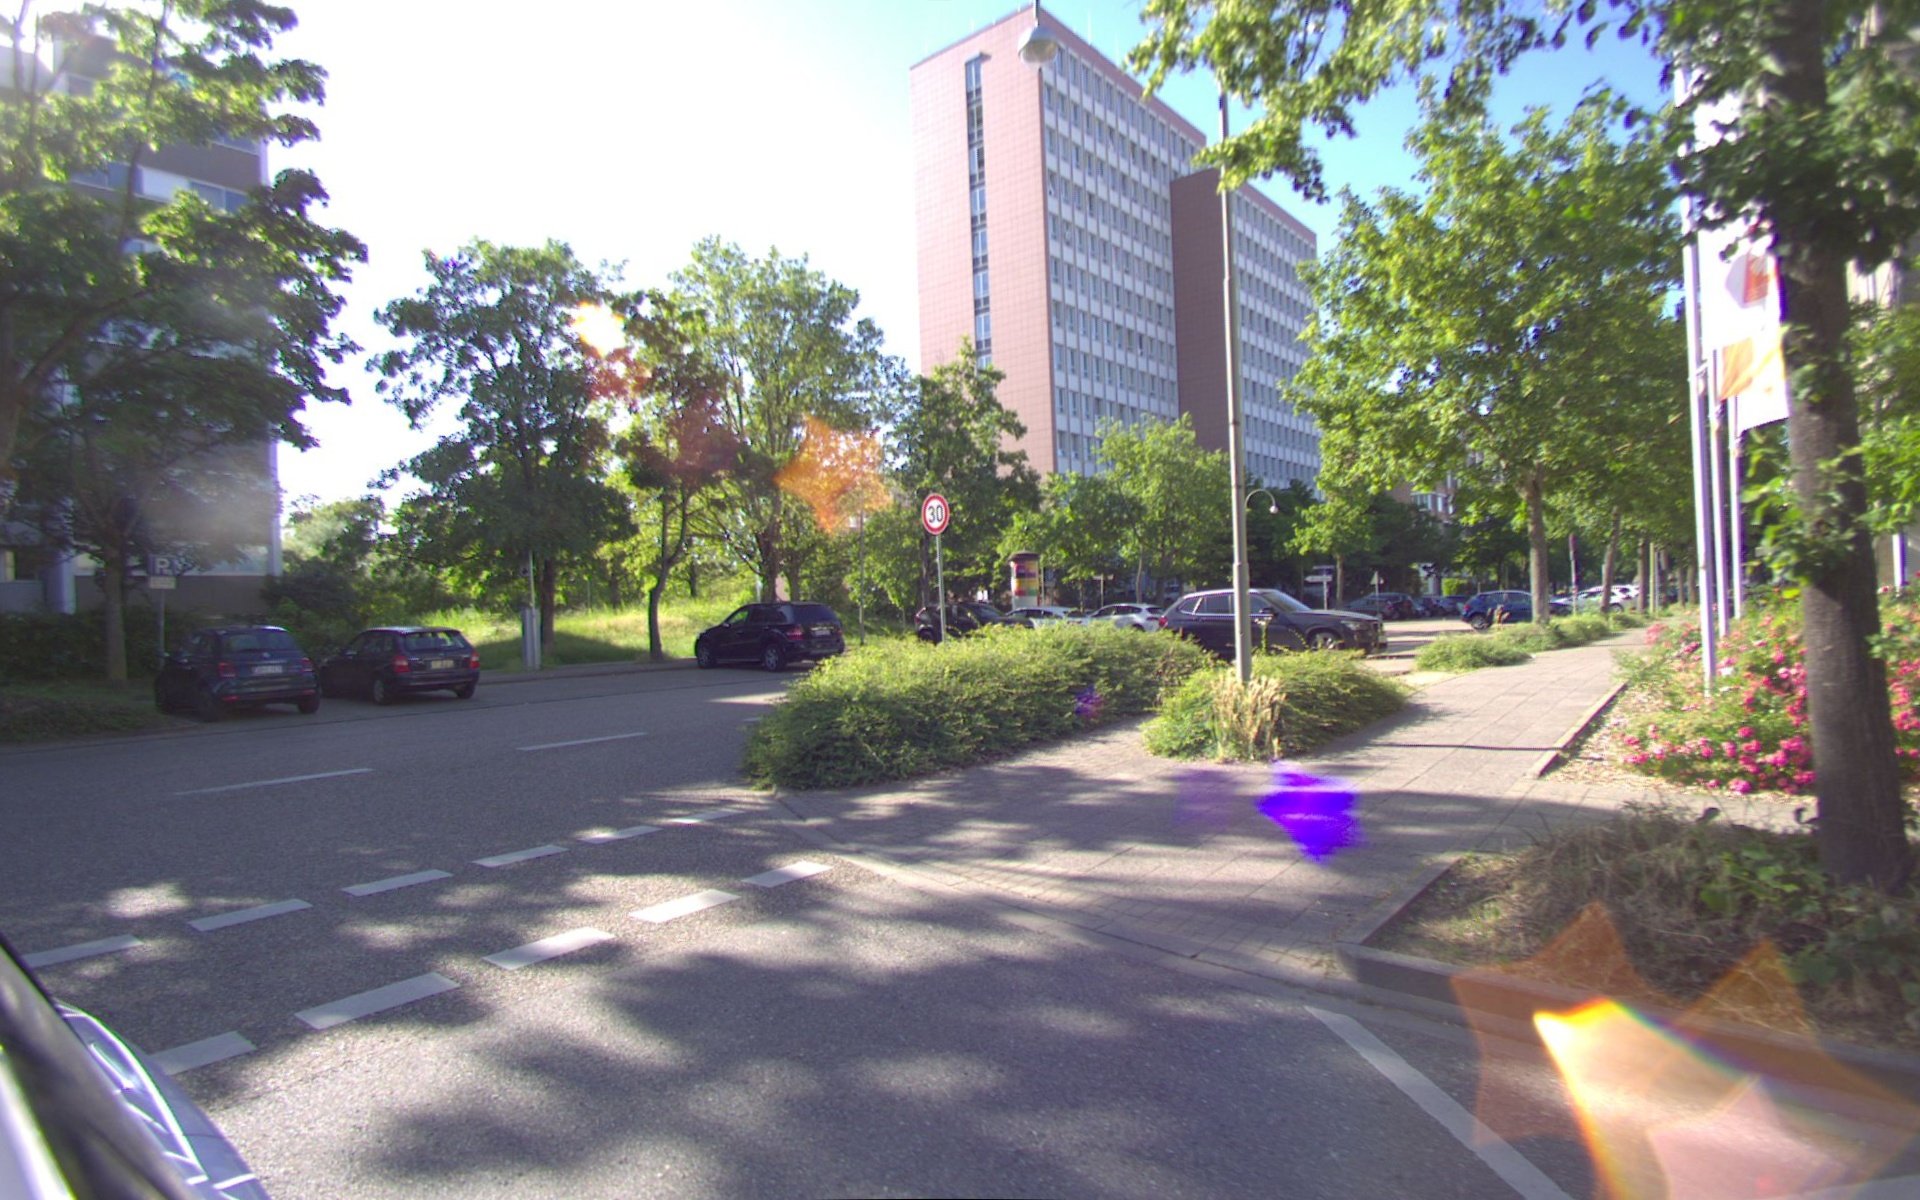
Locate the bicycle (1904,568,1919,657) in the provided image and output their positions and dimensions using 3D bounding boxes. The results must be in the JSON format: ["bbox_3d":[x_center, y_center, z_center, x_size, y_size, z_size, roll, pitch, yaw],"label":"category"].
[{"bbox_3d":[11.657,0.137,12.035,0.438,1.055,2.164,-4,-2,39],"label":"bicycle"}]

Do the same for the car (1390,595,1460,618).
[{"bbox_3d":[34.761,0.509,75.747,4.429,1.565,1.835,-3,-2,39],"label":"car"}]

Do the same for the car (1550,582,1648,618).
[{"bbox_3d":[35.181,0.008,55.792,4.236,1.614,1.927,-6,-2,40],"label":"car"}]

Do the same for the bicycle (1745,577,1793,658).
[{"bbox_3d":[11.404,0.216,14.250,0.438,1.055,2.164,-4,-2,39],"label":"bicycle"}]

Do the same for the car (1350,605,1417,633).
[{"bbox_3d":[27.774,1.249,66.370,3.683,1.764,1.700,-2,0,42],"label":"car"}]

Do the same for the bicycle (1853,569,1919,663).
[{"bbox_3d":[11.292,0.174,12.368,0.438,1.055,2.164,-4,-2,39],"label":"bicycle"}]

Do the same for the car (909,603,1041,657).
[{"bbox_3d":[0.461,0.969,33.256,4.126,1.630,1.712,-1,1,38],"label":"car"}]

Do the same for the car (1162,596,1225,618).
[{"bbox_3d":[19.424,0.613,84.347,4.722,1.699,1.853,-2,-1,36],"label":"car"}]

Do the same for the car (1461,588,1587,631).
[{"bbox_3d":[21.645,0.373,38.897,3.992,1.422,1.795,-4,-2,36],"label":"car"}]

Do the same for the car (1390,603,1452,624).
[{"bbox_3d":[33.314,0.951,73.196,3.683,1.431,1.700,-2,0,42],"label":"car"}]

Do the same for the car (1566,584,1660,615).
[{"bbox_3d":[38.435,-0.003,59.627,4.514,1.462,1.918,-5,-3,36],"label":"car"}]

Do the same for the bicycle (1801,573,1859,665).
[{"bbox_3d":[10.902,0.215,12.712,0.438,1.055,2.164,-4,-2,39],"label":"bicycle"}]

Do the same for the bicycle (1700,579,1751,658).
[{"bbox_3d":[11.031,0.243,14.557,0.438,1.055,2.164,-4,-2,39],"label":"bicycle"}]

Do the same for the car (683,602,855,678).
[{"bbox_3d":[-5.063,1.006,26.510,4.598,1.792,1.973,-1,0,40],"label":"car"}]

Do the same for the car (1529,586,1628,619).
[{"bbox_3d":[32.871,0.143,53.848,4.267,1.491,1.777,-4,-2,39],"label":"car"}]

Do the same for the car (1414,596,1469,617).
[{"bbox_3d":[37.271,0.489,78.334,3.580,1.518,1.702,-2,0,39],"label":"car"}]

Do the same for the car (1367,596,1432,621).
[{"bbox_3d":[30.318,0.595,69.835,3.874,1.577,1.788,-2,0,35],"label":"car"}]

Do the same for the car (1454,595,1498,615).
[{"bbox_3d":[42.467,0.441,83.266,2.942,1.590,1.446,-2,0,42],"label":"car"}]

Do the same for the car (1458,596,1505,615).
[{"bbox_3d":[43.657,0.440,84.773,3.207,1.490,1.566,-2,0,43],"label":"car"}]

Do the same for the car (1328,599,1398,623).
[{"bbox_3d":[25.756,0.672,64.734,3.841,1.458,1.572,1,-1,37],"label":"car"}]

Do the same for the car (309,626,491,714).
[{"bbox_3d":[-10.930,1.280,19.645,3.997,1.397,1.798,0,1,40],"label":"car"}]

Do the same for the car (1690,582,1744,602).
[{"bbox_3d":[65.573,-0.664,87.702,3.628,1.519,1.597,-4,-2,38],"label":"car"}]

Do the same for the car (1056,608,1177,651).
[{"bbox_3d":[6.217,1.129,40.404,4.434,1.605,1.814,-1,0,37],"label":"car"}]

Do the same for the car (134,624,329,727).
[{"bbox_3d":[-12.645,1.208,17.499,3.814,1.510,1.680,0,0,37],"label":"car"}]

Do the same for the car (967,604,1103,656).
[{"bbox_3d":[2.584,1.061,35.443,4.449,1.557,1.795,-4,-2,37],"label":"car"}]

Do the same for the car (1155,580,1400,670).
[{"bbox_3d":[6.175,0.520,19.938,4.203,1.531,1.748,-4,-2,41],"label":"car"}]
